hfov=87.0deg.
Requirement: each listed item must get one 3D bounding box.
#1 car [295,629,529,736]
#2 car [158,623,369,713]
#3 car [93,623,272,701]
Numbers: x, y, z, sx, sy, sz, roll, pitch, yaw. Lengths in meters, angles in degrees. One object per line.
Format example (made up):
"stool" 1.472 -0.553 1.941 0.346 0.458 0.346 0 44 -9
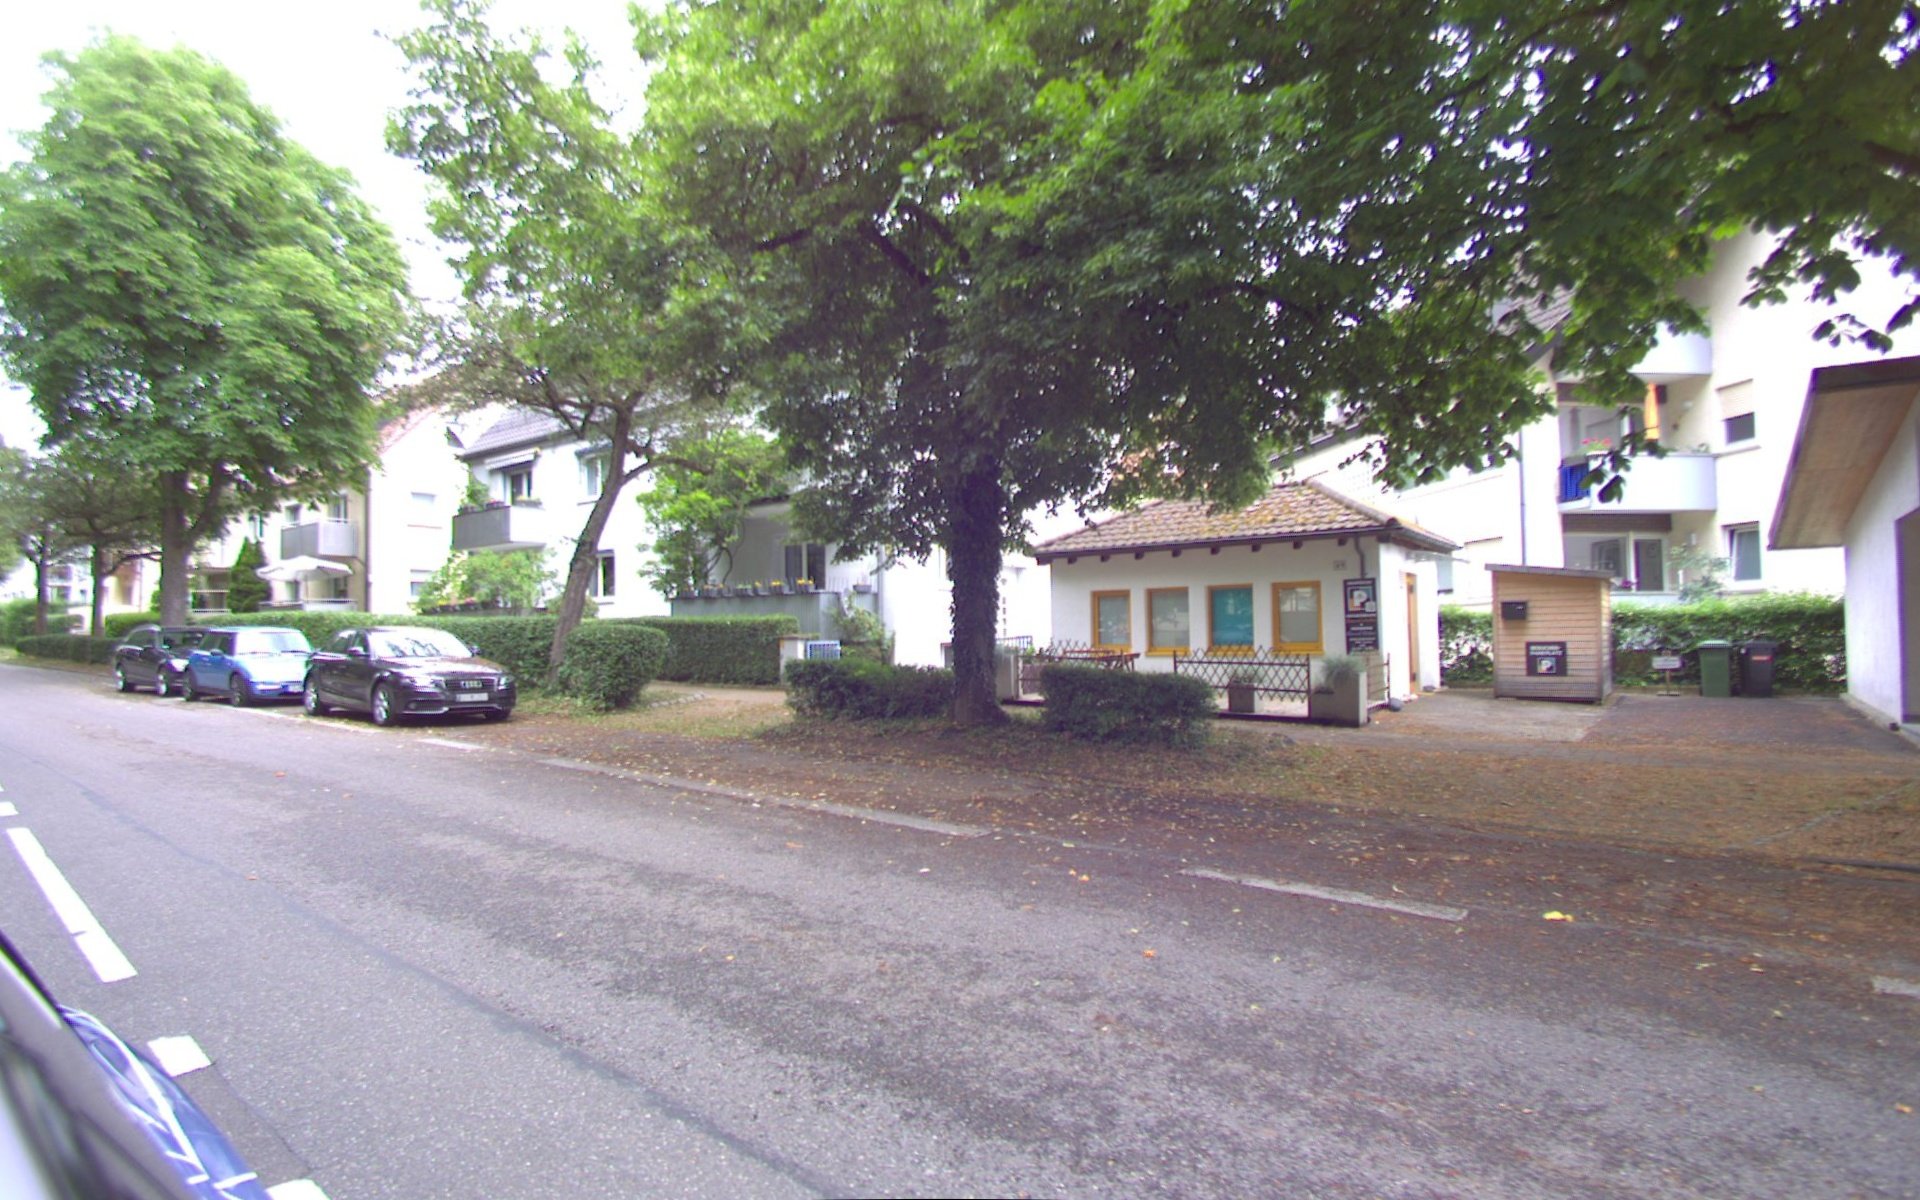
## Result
"car" -8.452 1.169 15.474 4.168 1.414 1.714 -2 -3 40
"car" -13.229 1.227 19.132 4.557 1.512 1.866 -2 -3 36
"car" -16.983 1.305 22.039 4.557 1.545 1.866 -2 -3 36
